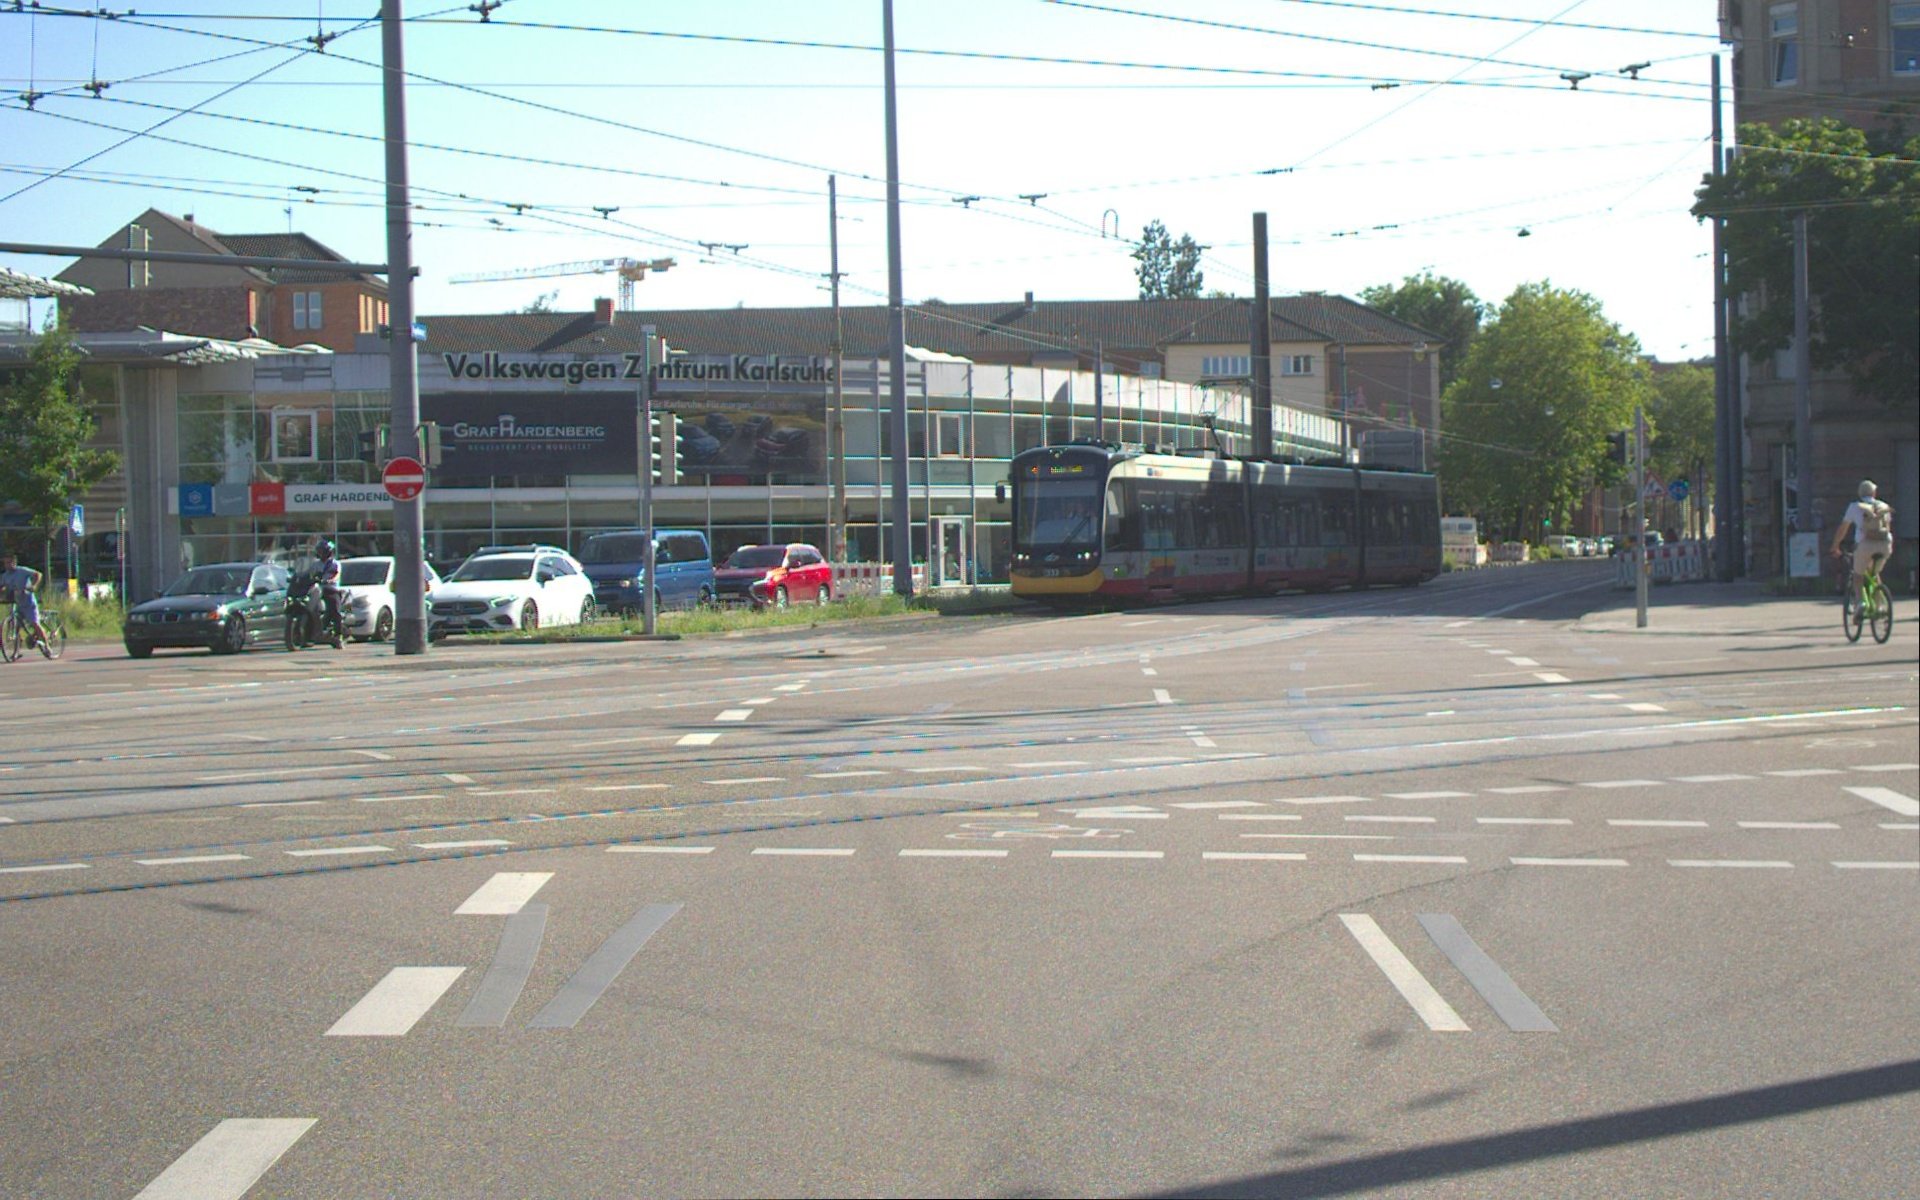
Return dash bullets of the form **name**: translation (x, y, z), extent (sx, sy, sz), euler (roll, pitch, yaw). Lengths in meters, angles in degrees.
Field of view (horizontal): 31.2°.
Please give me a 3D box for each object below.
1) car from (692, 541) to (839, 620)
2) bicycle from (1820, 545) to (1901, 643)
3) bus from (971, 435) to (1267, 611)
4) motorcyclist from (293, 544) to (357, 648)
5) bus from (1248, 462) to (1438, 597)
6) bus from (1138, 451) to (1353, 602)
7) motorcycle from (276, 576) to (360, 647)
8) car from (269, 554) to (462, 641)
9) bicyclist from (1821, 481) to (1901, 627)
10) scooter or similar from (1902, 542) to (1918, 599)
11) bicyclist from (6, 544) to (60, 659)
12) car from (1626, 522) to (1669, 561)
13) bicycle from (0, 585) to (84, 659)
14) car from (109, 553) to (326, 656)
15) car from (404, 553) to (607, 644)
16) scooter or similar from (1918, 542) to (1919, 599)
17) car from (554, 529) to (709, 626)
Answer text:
- **car**: translation (-4.422, -0.456, 78.831), extent (1.801, 1.713, 4.412), euler (-1, 0, 19)
- **bicycle**: translation (10.495, -0.063, 40.110), extent (0.531, 1.114, 1.933), euler (1, 0, 3)
- **bus**: translation (3.802, -1.688, 76.780), extent (2.843, 3.577, 13.483), euler (0, 1, 19)
- **motorcyclist**: translation (-9.761, -0.065, 52.849), extent (0.585, 1.574, 0.943), euler (-2, 0, 15)
- **bus**: translation (10.992, -1.976, 97.466), extent (2.843, 3.577, 11.260), euler (0, 1, 19)
- **bus**: translation (7.373, -1.828, 87.086), extent (2.843, 3.577, 10.716), euler (0, 1, 19)
- **motorcycle**: translation (-9.826, 0.168, 52.685), extent (0.519, 1.043, 1.746), euler (-2, 1, 15)
- **car**: translation (-10.246, -0.063, 59.525), extent (1.804, 1.427, 3.997), euler (1, 1, 14)
- **bicyclist**: translation (10.504, -0.537, 40.109), extent (0.681, 1.678, 1.120), euler (1, 0, 3)
- **scooter or similar**: translation (19.945, -0.623, 72.190), extent (0.270, 1.181, 1.564), euler (1, 0, 14)
- **bicyclist**: translation (-14.221, 0.017, 52.731), extent (0.574, 1.736, 0.601), euler (1, 3, 14)
- **car**: translation (36.544, -3.102, 182.719), extent (1.995, 2.007, 3.997), euler (1, 1, 14)
- **bicycle**: translation (-14.158, 0.332, 52.968), extent (0.538, 1.070, 1.654), euler (-1, 1, 14)
- **car**: translation (-11.459, 0.044, 53.318), extent (1.650, 1.474, 3.968), euler (-2, 0, 14)
- **car**: translation (-7.567, -0.043, 57.676), extent (1.804, 1.427, 4.538), euler (1, 1, 14)
- **scooter or similar**: translation (20.255, -0.618, 72.123), extent (0.270, 1.181, 1.564), euler (1, 0, 14)
- **car**: translation (-6.810, -0.468, 71.694), extent (1.804, 1.927, 4.162), euler (-1, 0, 16)
